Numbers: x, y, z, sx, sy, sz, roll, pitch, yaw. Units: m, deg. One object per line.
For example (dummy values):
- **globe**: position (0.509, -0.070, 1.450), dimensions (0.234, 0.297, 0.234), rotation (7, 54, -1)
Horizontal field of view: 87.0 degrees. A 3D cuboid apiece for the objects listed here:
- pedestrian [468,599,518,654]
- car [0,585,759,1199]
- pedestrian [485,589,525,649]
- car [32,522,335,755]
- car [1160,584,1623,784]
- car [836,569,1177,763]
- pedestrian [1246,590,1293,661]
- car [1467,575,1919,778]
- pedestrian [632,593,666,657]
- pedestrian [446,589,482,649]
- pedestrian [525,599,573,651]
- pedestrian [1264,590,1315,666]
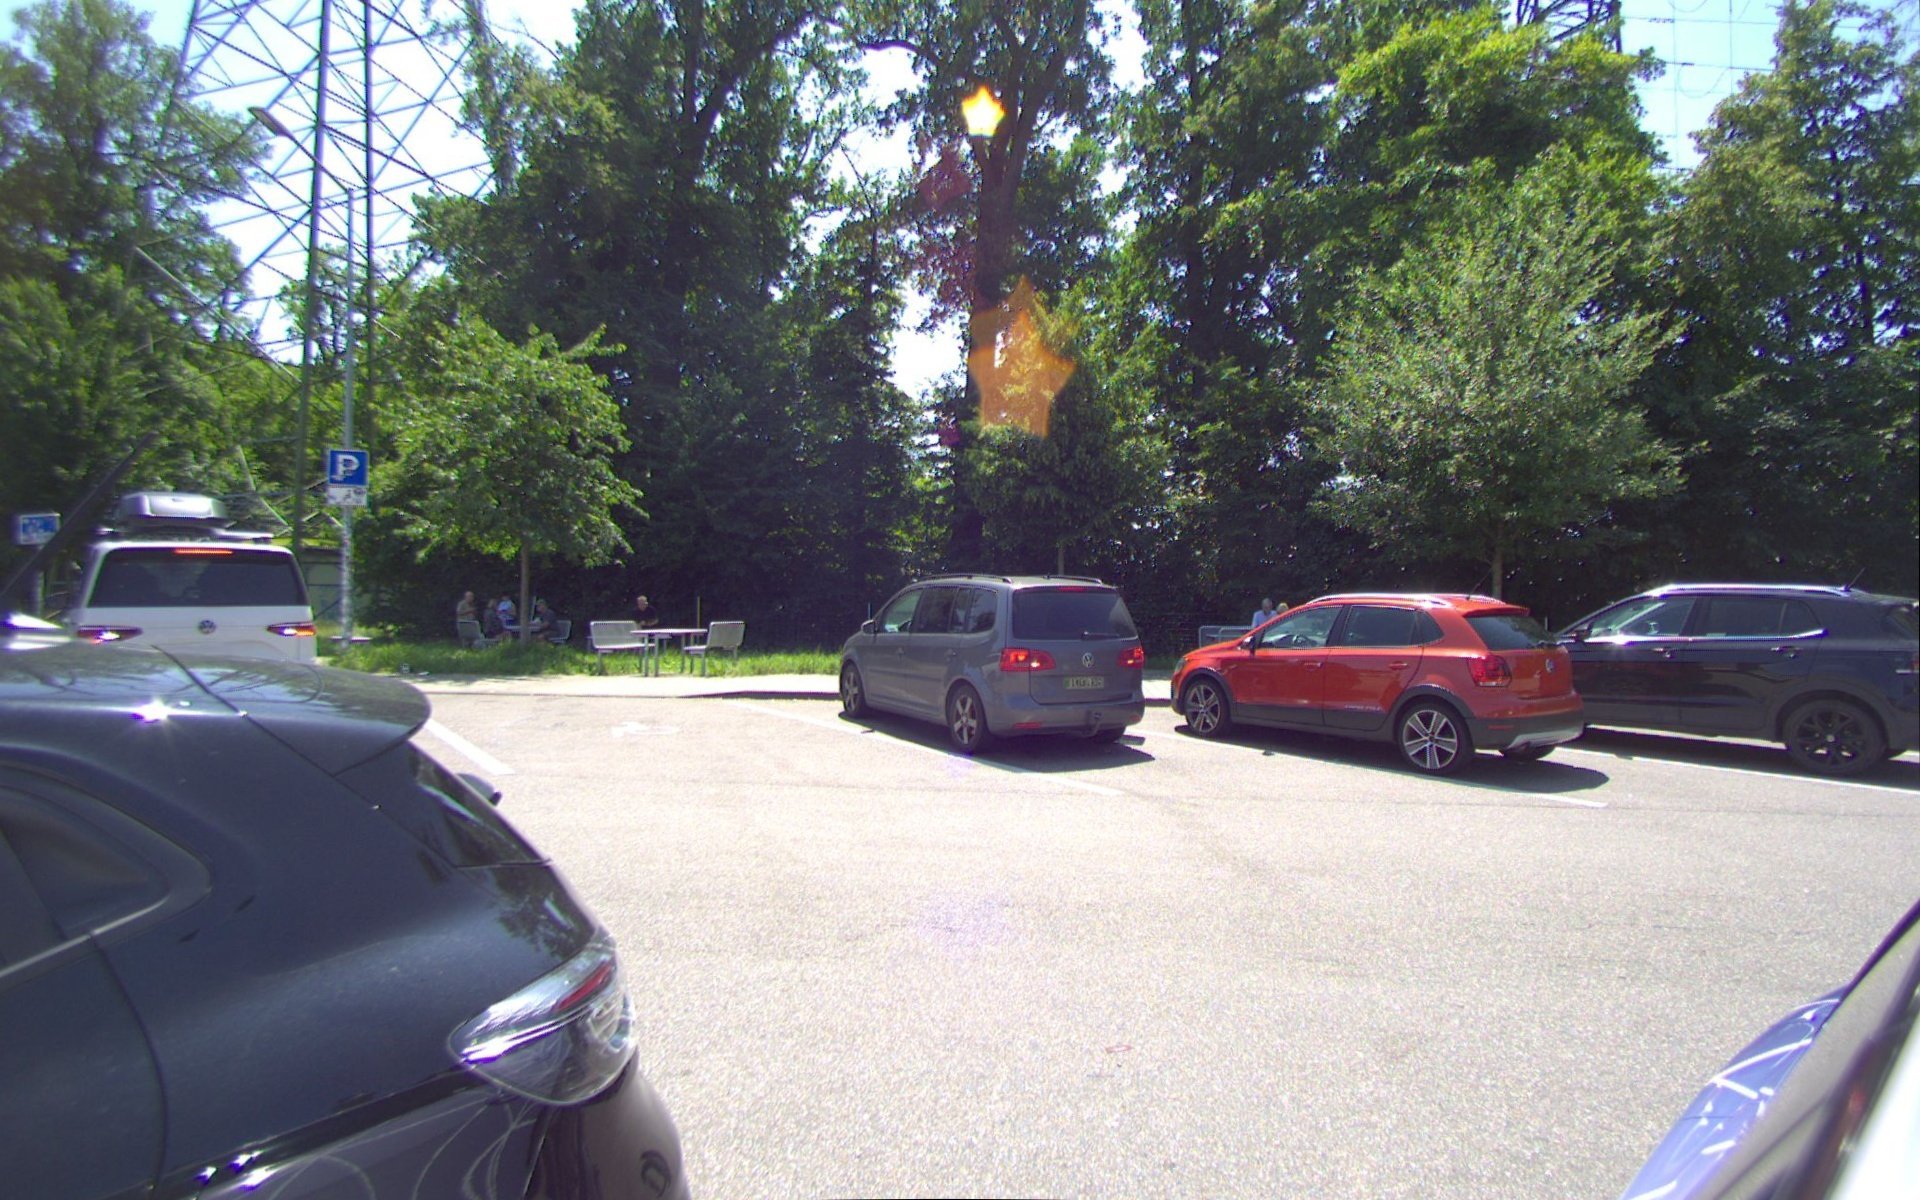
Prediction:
- **pedestrian**: position (-10.510, 0.579, 22.790), dimensions (0.873, 1.192, 0.668), rotation (0, 0, -41)
- **car**: position (-2.198, 0.715, 0.618), dimensions (1.737, 1.501, 3.757), rotation (0, 0, 44)
- **pedestrian**: position (-11.026, 0.451, 24.534), dimensions (0.664, 1.422, 0.643), rotation (0, 0, 32)
- **car**: position (-8.351, 0.279, 10.711), dimensions (4.549, 1.936, 1.882), rotation (1, 1, 44)
- **car**: position (3.859, 0.603, 9.666), dimensions (1.687, 1.484, 3.793), rotation (0, 1, -32)
- **car**: position (0.259, 0.510, 10.536), dimensions (1.713, 1.601, 3.996), rotation (0, 1, -29)
- **pedestrian**: position (5.792, 0.467, 18.983), dimensions (0.657, 1.311, 0.783), rotation (0, 0, 3)
- **car**: position (7.186, 0.568, 9.725), dimensions (1.690, 1.593, 3.787), rotation (0, 1, -39)
- **pedestrian**: position (-6.537, 0.512, 21.300), dimensions (0.655, 1.311, 0.786), rotation (0, 0, -16)
- **pedestrian**: position (-12.127, 0.455, 24.742), dimensions (0.657, 1.422, 0.649), rotation (0, 0, -39)
- **pedestrian**: position (-9.594, 0.566, 23.644), dimensions (0.873, 1.192, 0.668), rotation (0, 0, -41)
- **pedestrian**: position (5.787, 0.478, 17.787), dimensions (0.657, 1.311, 0.783), rotation (0, 0, 3)
